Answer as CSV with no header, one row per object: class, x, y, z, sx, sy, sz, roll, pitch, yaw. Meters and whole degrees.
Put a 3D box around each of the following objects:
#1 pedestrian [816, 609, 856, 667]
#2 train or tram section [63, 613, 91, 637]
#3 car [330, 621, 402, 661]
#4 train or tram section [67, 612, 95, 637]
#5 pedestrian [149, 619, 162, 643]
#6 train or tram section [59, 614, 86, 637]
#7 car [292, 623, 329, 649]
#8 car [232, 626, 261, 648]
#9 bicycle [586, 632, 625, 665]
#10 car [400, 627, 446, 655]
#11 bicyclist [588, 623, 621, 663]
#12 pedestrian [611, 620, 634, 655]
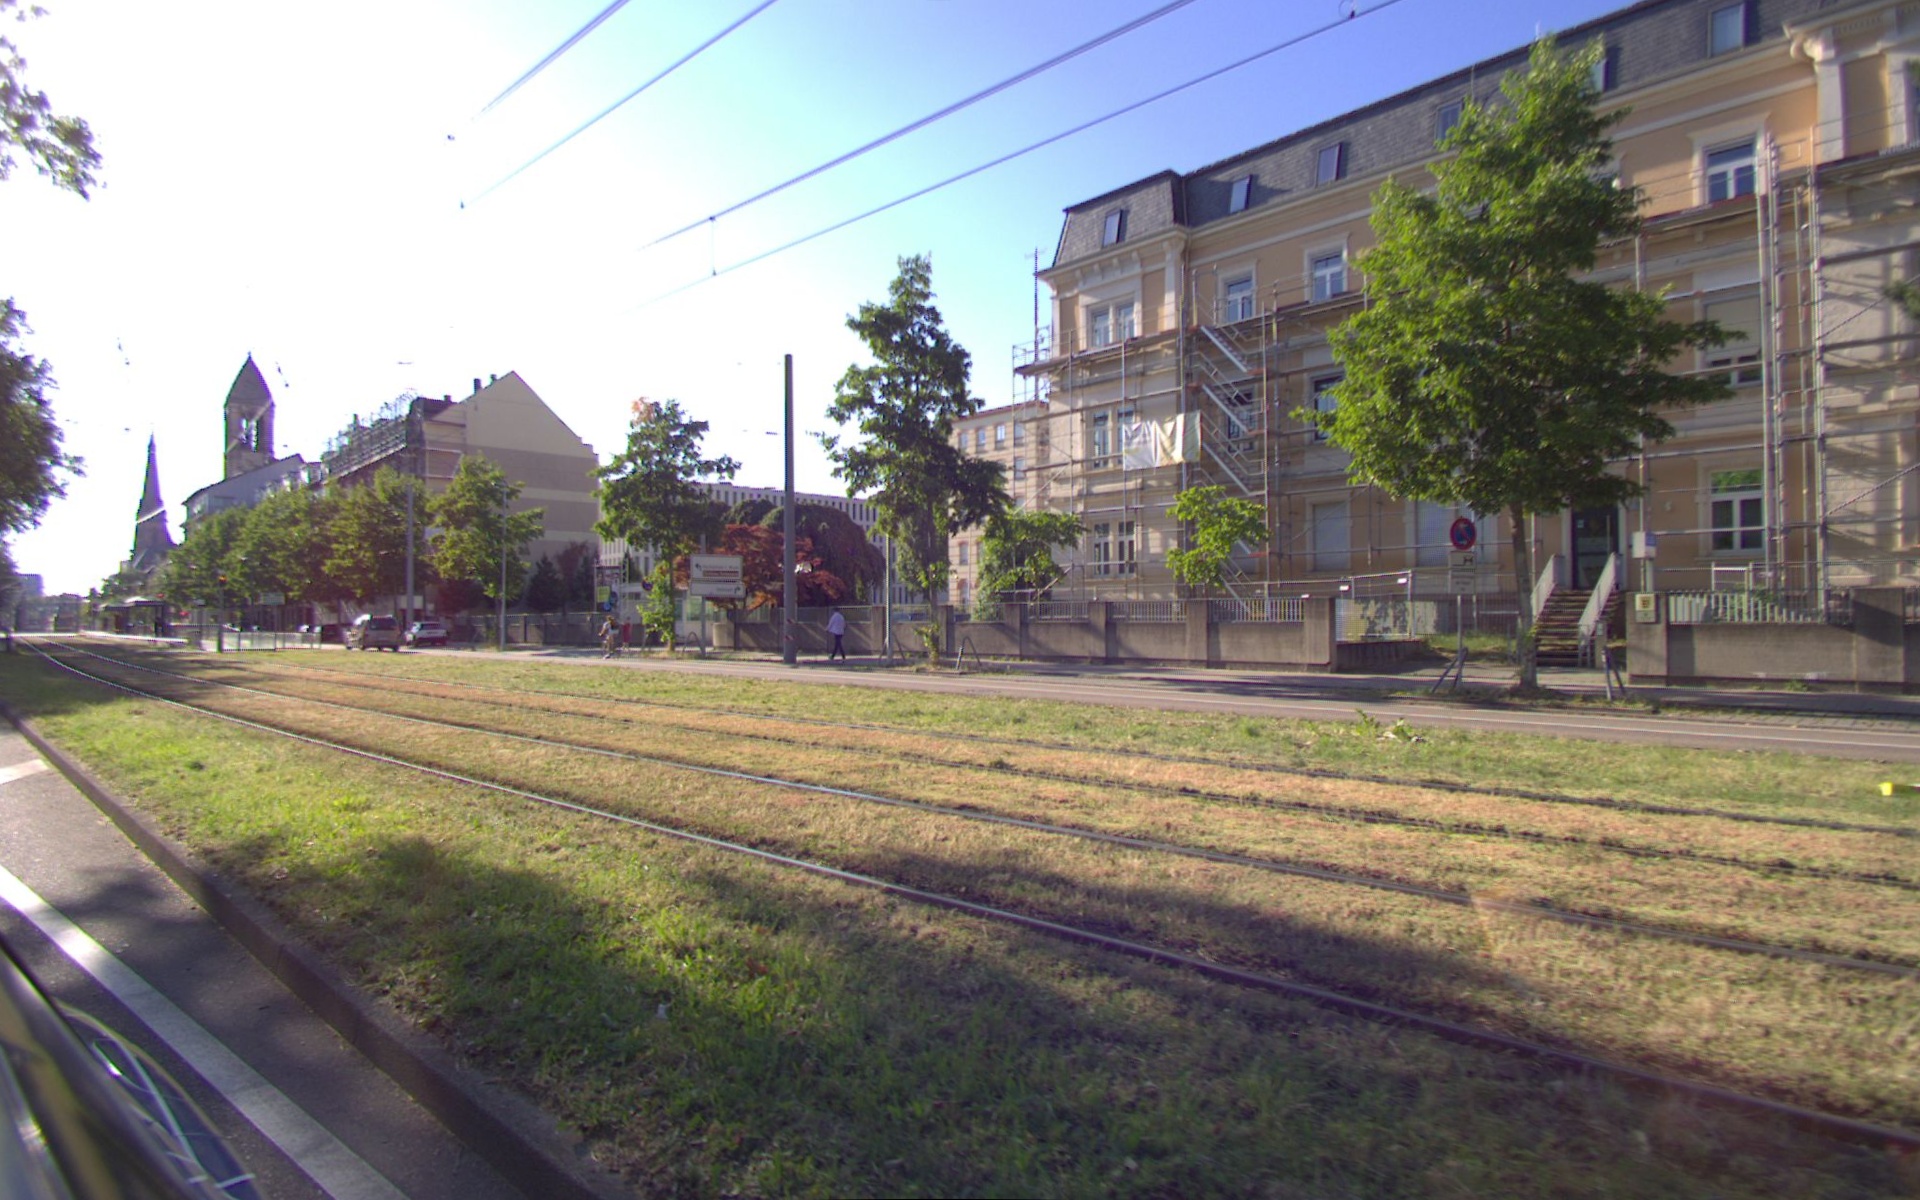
pedestrian,-4.193,1.281,34.294,1.087,1.942,0.848,-2,-3,45
train or tram section,-142.619,4.049,163.386,2.836,3.714,14.573,1,-2,-43
car,-30.944,2.096,52.654,4.470,1.933,1.919,-1,-1,41
train or tram section,-134.292,3.795,154.585,2.836,3.714,9.692,1,-2,-43
pedestrian,-59.558,2.276,74.921,0.655,1.703,0.671,-2,0,44
train or tram section,-152.615,4.396,173.955,2.836,3.703,14.573,1,-2,-43
car,-55.340,3.058,86.198,1.969,2.029,4.005,-2,0,-42
car,-75.763,3.906,107.411,1.918,2.182,3.788,-2,0,-44
bicycle,-13.758,1.855,39.258,0.766,1.202,1.757,-2,0,-44
car,-33.569,2.523,63.201,1.700,1.598,4.072,-2,0,-40
bicyclist,-13.800,1.646,39.296,0.766,1.492,1.135,-2,0,-44
pedestrian,-16.528,1.836,49.505,0.812,1.660,0.717,-2,-3,40
